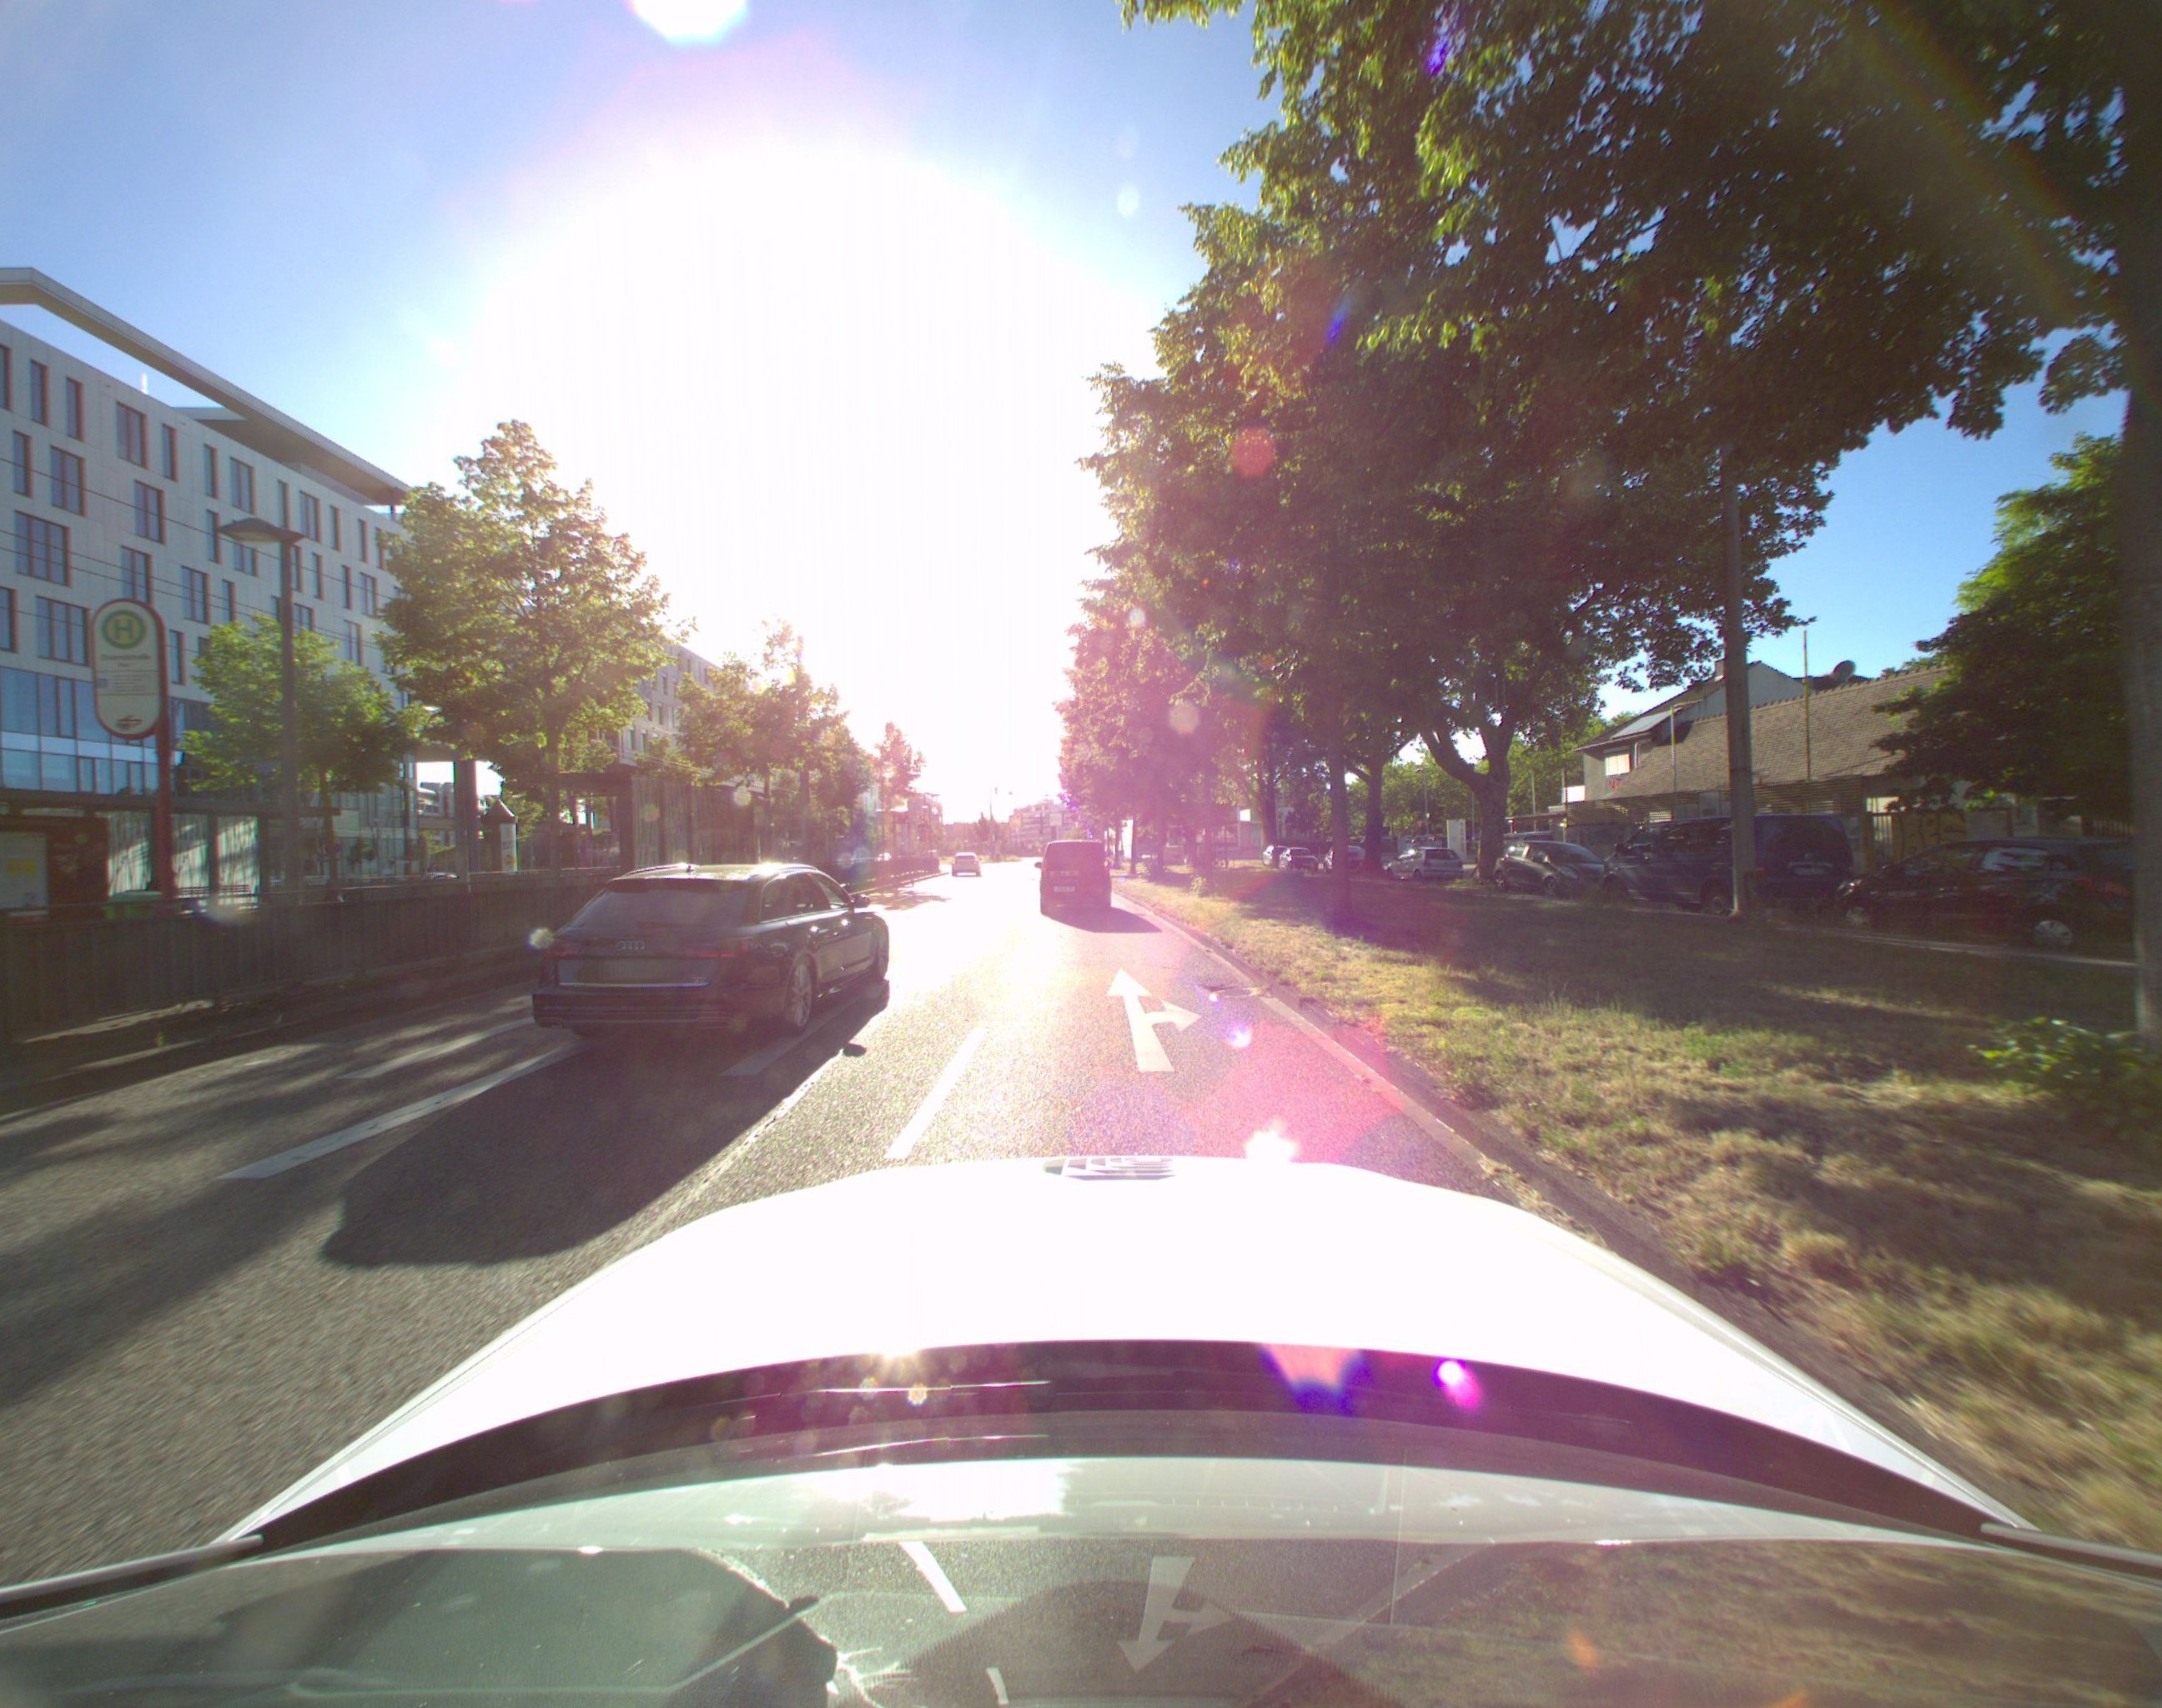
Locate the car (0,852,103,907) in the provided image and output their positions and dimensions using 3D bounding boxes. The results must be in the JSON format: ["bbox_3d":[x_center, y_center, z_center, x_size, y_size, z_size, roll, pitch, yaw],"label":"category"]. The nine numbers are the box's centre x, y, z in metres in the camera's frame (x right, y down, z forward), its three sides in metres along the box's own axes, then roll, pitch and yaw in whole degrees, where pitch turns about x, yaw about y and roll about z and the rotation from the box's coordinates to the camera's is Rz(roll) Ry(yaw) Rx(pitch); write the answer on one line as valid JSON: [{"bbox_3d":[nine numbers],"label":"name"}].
[{"bbox_3d":[-40.494,0.933,30.611,1.988,2.014,4.560,0,0,-1],"label":"car"}]

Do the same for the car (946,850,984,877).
[{"bbox_3d":[-7.332,0.580,51.895,1.989,1.618,3.996,0,0,-2],"label":"car"}]

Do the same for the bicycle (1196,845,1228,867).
[{"bbox_3d":[7.614,0.139,47.459,1.774,1.268,0.479,0,-1,-2],"label":"bicycle"}]

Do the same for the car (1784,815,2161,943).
[{"bbox_3d":[12.007,0.269,10.775,1.867,1.367,3.996,0,0,-3],"label":"car"}]

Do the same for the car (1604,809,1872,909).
[{"bbox_3d":[12.400,0.090,15.765,1.867,1.684,3.996,0,0,-3],"label":"car"}]

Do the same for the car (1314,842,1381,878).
[{"bbox_3d":[13.257,0.280,40.814,1.867,1.684,3.995,0,0,-4],"label":"car"}]

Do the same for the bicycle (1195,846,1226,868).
[{"bbox_3d":[7.710,0.152,48.612,1.774,1.268,0.479,-1,0,-2],"label":"bicycle"}]

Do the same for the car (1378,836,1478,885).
[{"bbox_3d":[13.192,0.245,31.240,1.867,1.684,3.995,-3,0,-4],"label":"car"}]

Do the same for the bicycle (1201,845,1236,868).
[{"bbox_3d":[7.861,0.136,46.604,1.912,1.268,0.479,-1,0,-2],"label":"bicycle"}]

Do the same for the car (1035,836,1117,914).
[{"bbox_3d":[-0.228,0.505,21.266,1.806,1.838,3.992,0,0,-5],"label":"car"}]

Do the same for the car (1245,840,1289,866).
[{"bbox_3d":[12.388,-0.058,54.529,1.866,1.684,3.996,0,0,-2],"label":"car"}]

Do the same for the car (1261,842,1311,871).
[{"bbox_3d":[12.539,0.150,49.980,1.867,1.684,3.995,0,0,-4],"label":"car"}]

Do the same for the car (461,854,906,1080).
[{"bbox_3d":[-3.257,0.772,8.108,1.947,1.480,5.083,-1,0,-1],"label":"car"}]

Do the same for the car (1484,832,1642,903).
[{"bbox_3d":[12.521,0.336,21.473,1.864,1.684,4.001,0,0,1],"label":"car"}]

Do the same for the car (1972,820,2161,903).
[{"bbox_3d":[21.501,0.111,16.409,1.866,1.546,4.688,-3,0,-1],"label":"car"}]

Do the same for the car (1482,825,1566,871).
[{"bbox_3d":[21.444,-0.272,39.613,1.985,2.013,4.003,-3,0,3],"label":"car"}]

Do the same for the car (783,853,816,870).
[{"bbox_3d":[-29.982,0.805,86.769,1.986,1.765,4.002,0,0,2],"label":"car"}]
